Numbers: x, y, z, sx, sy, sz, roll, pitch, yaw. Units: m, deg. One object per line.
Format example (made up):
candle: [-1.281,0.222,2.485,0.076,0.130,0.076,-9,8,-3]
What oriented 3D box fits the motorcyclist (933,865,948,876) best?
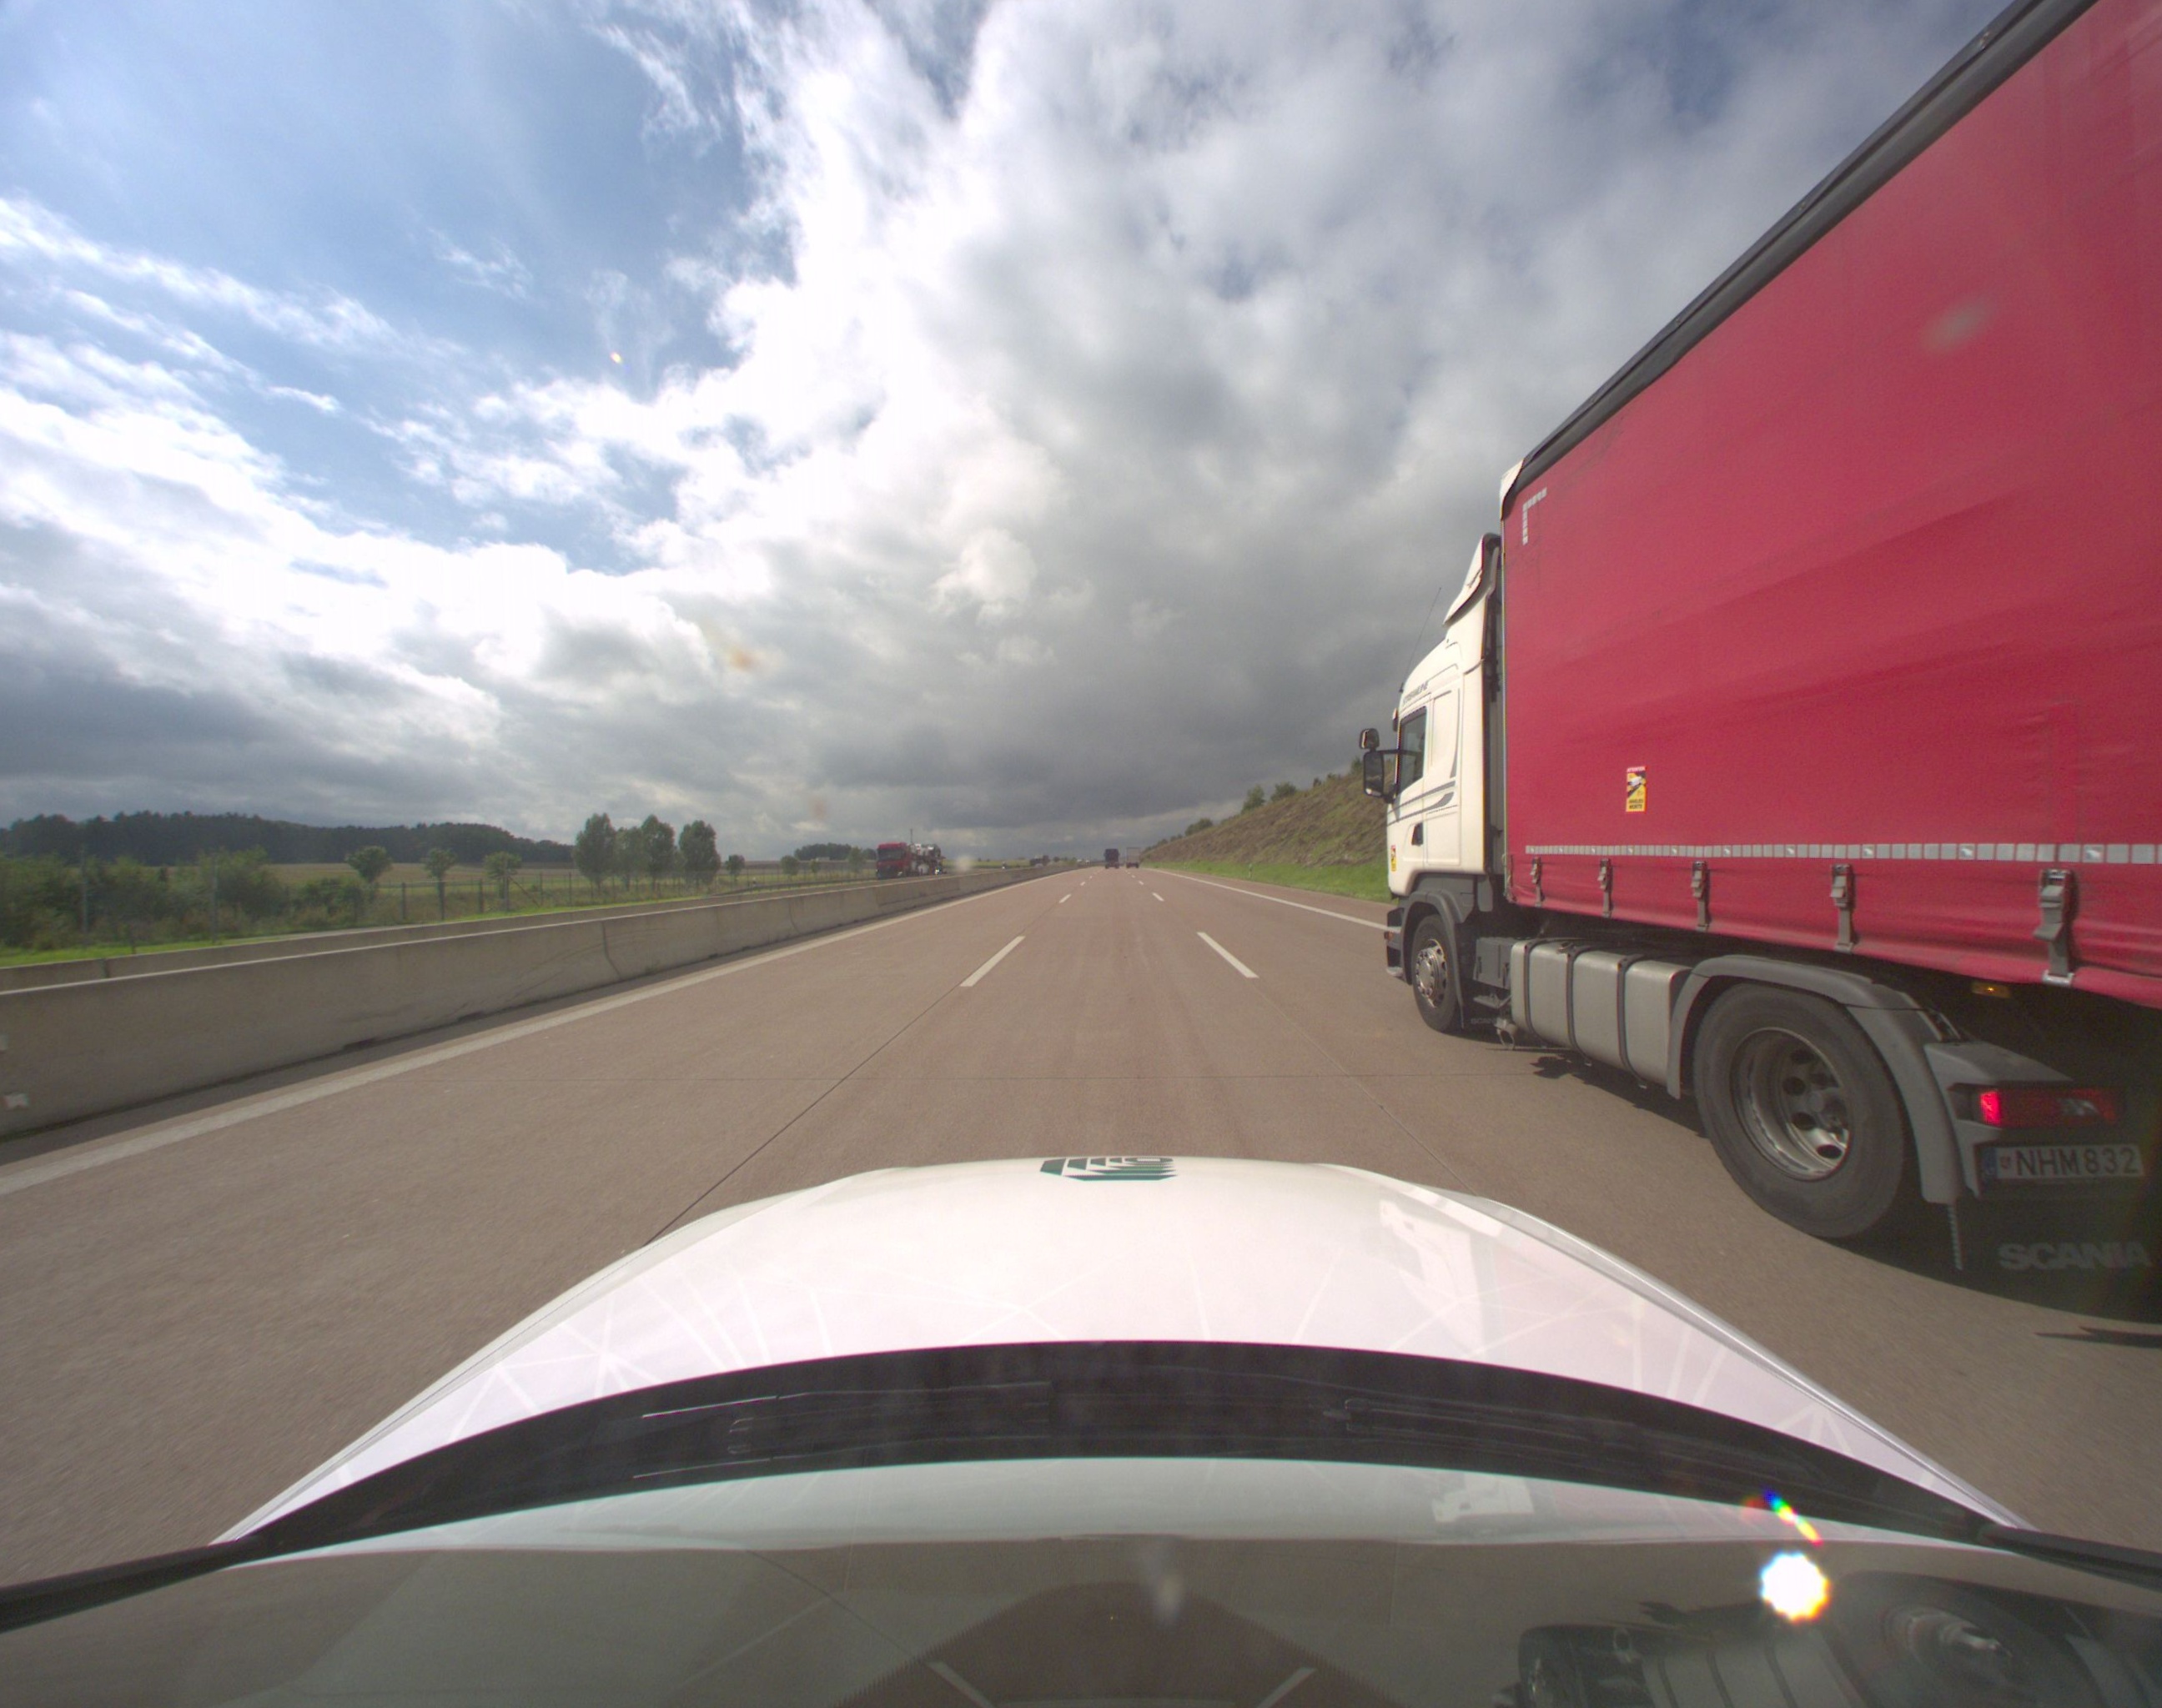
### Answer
motorcyclist: [-12.387,1.439,71.701,1.180,0.948,0.840,0,-1,2]

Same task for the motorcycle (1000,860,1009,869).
motorcycle: [-10.900,1.515,116.097,0.923,1.303,2.344,0,0,3]

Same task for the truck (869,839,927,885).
truck: [-16.595,0.696,74.374,3.181,3.978,7.735,0,0,3]

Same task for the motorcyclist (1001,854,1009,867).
motorcyclist: [-10.888,0.971,116.091,1.005,1.861,0.744,0,-1,3]

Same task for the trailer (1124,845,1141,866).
trailer: [9.959,0.387,158.116,2.738,4.012,8.669,-1,-1,0]

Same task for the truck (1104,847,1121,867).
truck: [5.767,0.663,148.559,2.838,3.550,8.319,-1,-1,1]

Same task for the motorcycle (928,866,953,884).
motorcycle: [-12.335,1.830,71.593,1.547,1.543,2.843,0,0,3]

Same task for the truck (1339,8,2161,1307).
truck: [4.166,-0.635,5.865,2.664,4.106,6.619,-1,0,2]

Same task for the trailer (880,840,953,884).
trailer: [-16.161,0.749,81.772,3.181,3.978,16.337,0,0,3]
